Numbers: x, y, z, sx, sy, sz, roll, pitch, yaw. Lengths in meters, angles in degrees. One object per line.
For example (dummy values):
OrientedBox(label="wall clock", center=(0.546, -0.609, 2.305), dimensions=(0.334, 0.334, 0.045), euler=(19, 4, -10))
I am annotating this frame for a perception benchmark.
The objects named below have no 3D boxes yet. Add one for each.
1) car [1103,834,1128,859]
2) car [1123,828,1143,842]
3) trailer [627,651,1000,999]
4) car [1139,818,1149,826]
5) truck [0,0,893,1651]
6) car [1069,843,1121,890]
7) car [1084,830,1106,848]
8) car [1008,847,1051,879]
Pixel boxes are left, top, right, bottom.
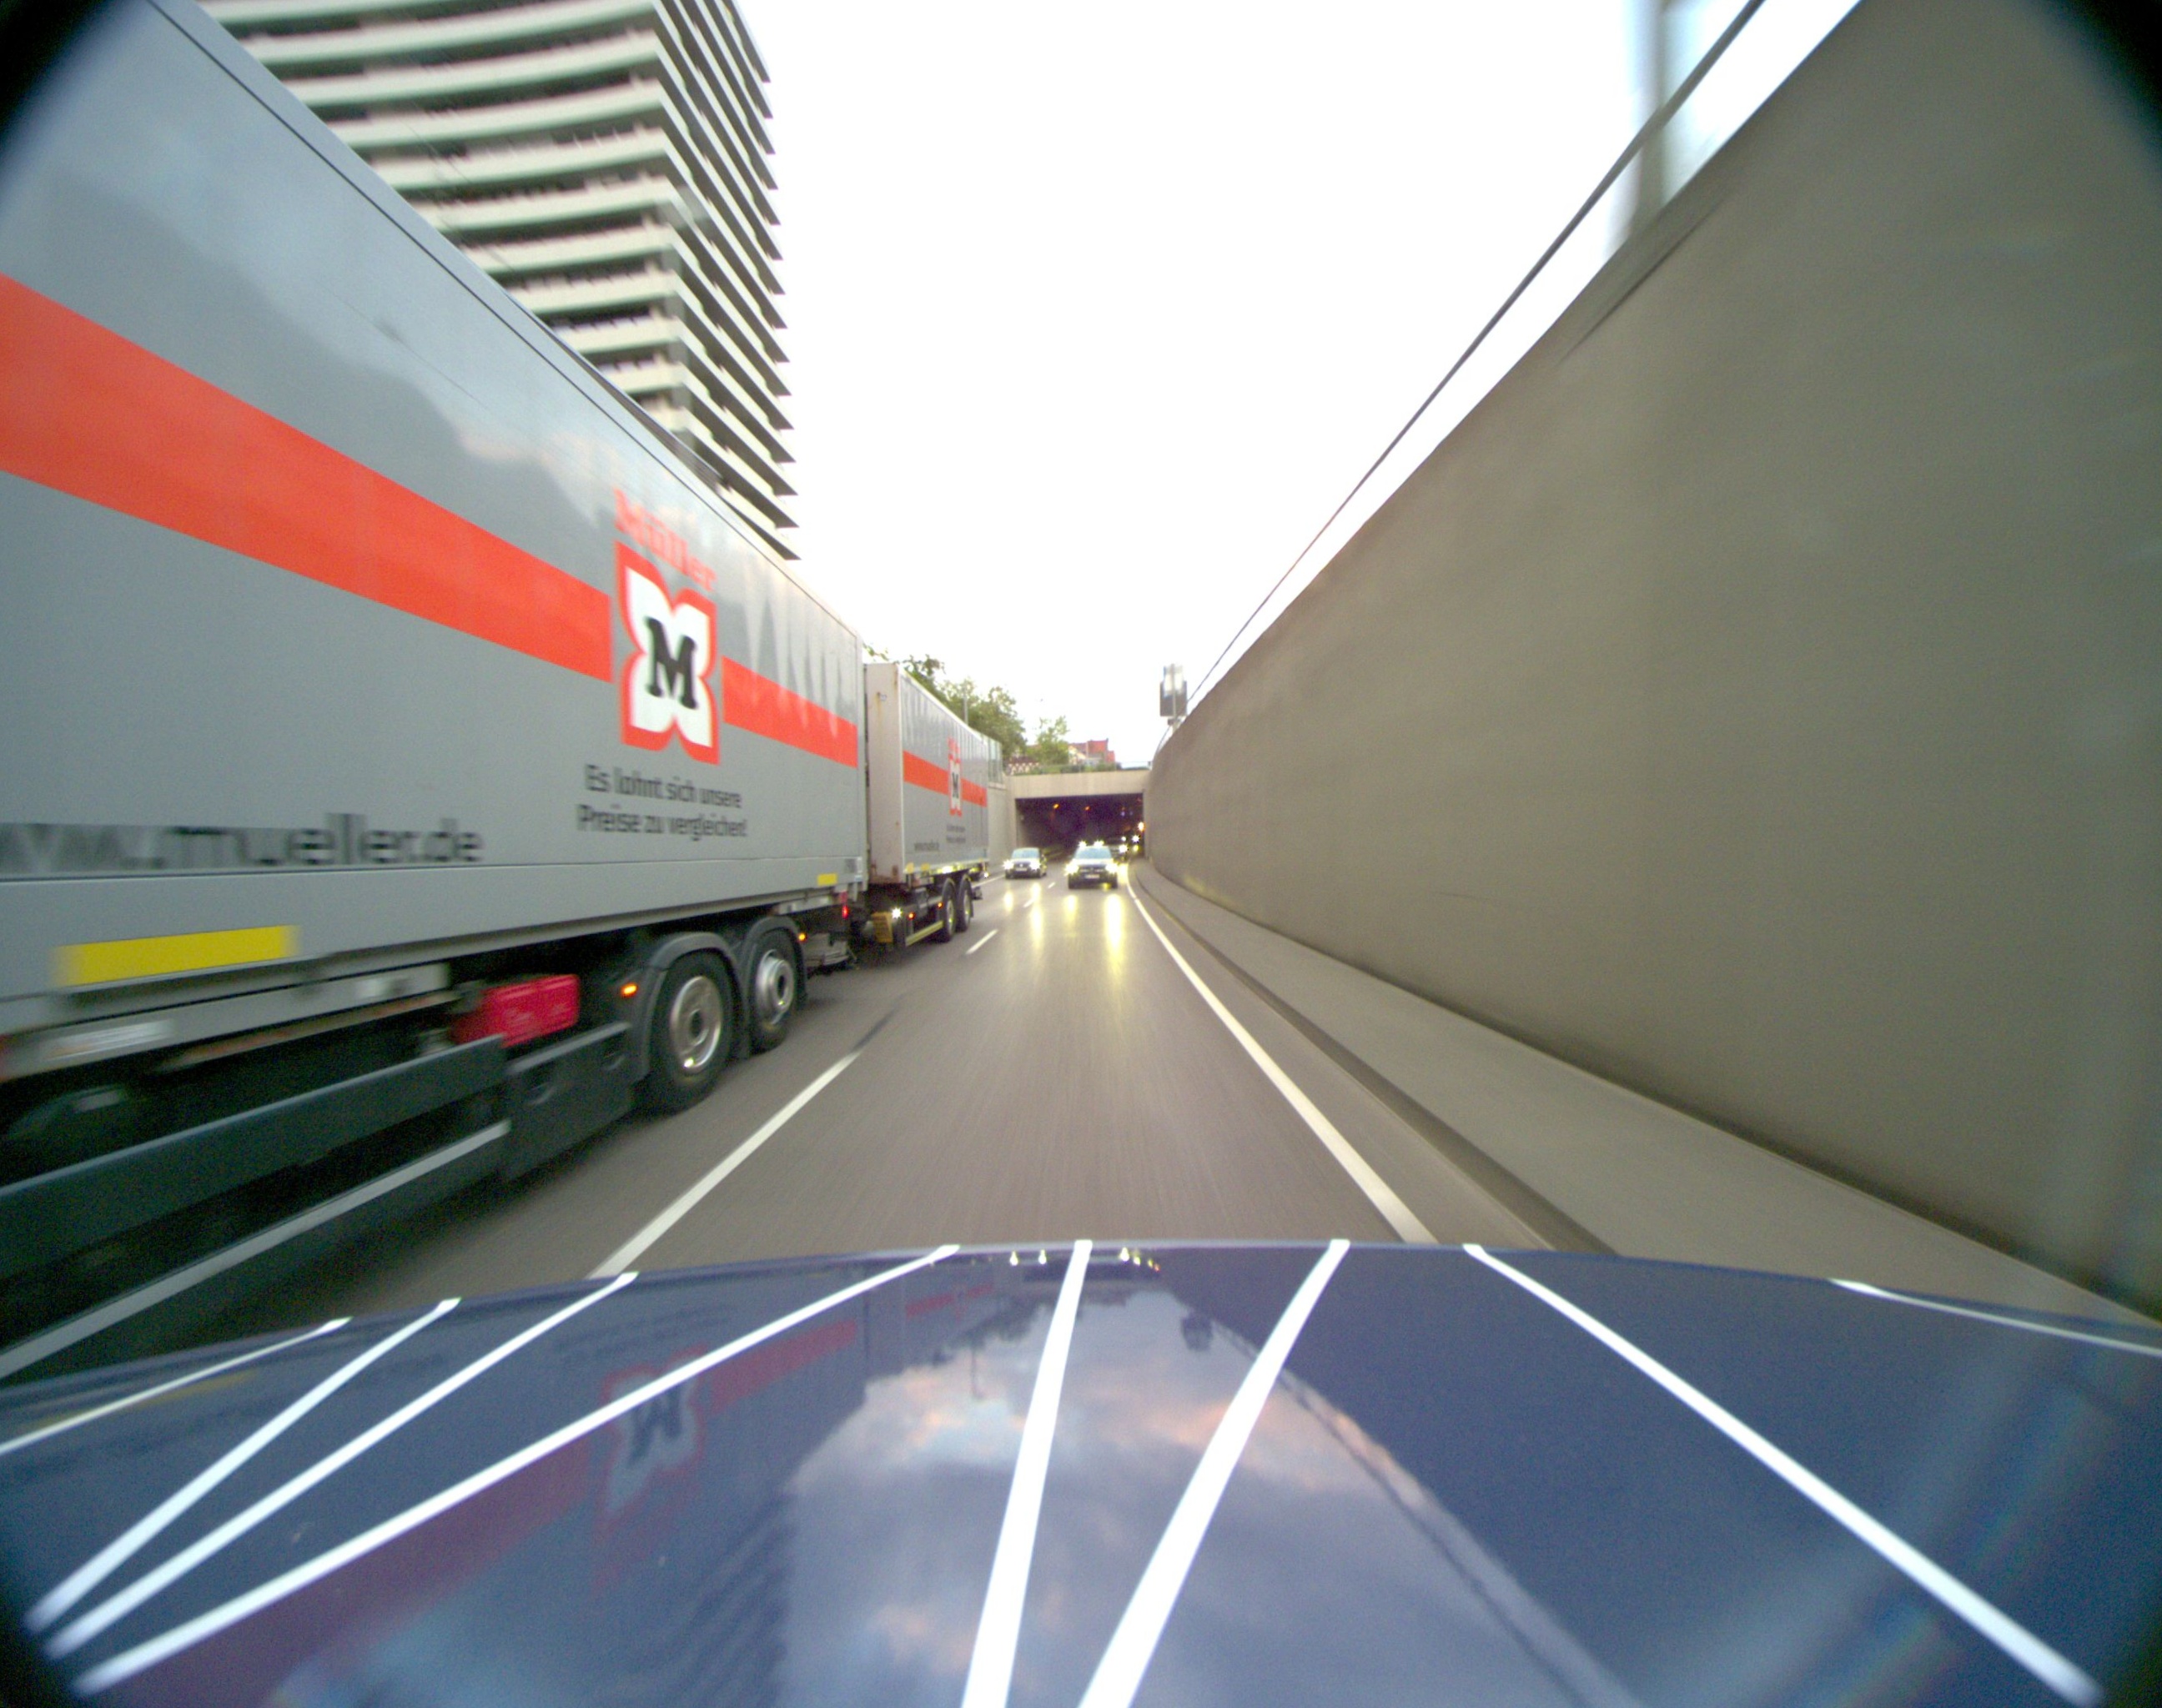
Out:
OrientedBox(label="car", center=(2.715, -0.587, 58.792), dimensions=(1.714, 1.729, 3.999), euler=(-2, 3, 4))
OrientedBox(label="car", center=(6.149, -2.243, 89.462), dimensions=(1.997, 1.576, 4.652), euler=(-2, 2, 7))
OrientedBox(label="trailer", center=(-3.498, -0.368, 13.059), dimensions=(2.882, 3.836, 8.947), euler=(-2, 1, 2))
OrientedBox(label="car", center=(14.421, -7.382, 174.888), dimensions=(1.998, 1.674, 4.000), euler=(-2, 2, 3))
OrientedBox(label="truck", center=(-3.749, -0.235, 3.572), dimensions=(2.896, 3.891, 9.908), euler=(-2, 1, 2))
OrientedBox(label="car", center=(0.611, 0.419, 29.968), dimensions=(1.819, 1.590, 3.999), euler=(-1, 3, 4))
OrientedBox(label="car", center=(1.393, -1.496, 75.777), dimensions=(1.735, 1.565, 4.001), euler=(-3, 1, 6))
OrientedBox(label="car", center=(-2.427, 0.380, 36.641), dimensions=(1.735, 1.395, 3.798), euler=(0, 2, 1))
